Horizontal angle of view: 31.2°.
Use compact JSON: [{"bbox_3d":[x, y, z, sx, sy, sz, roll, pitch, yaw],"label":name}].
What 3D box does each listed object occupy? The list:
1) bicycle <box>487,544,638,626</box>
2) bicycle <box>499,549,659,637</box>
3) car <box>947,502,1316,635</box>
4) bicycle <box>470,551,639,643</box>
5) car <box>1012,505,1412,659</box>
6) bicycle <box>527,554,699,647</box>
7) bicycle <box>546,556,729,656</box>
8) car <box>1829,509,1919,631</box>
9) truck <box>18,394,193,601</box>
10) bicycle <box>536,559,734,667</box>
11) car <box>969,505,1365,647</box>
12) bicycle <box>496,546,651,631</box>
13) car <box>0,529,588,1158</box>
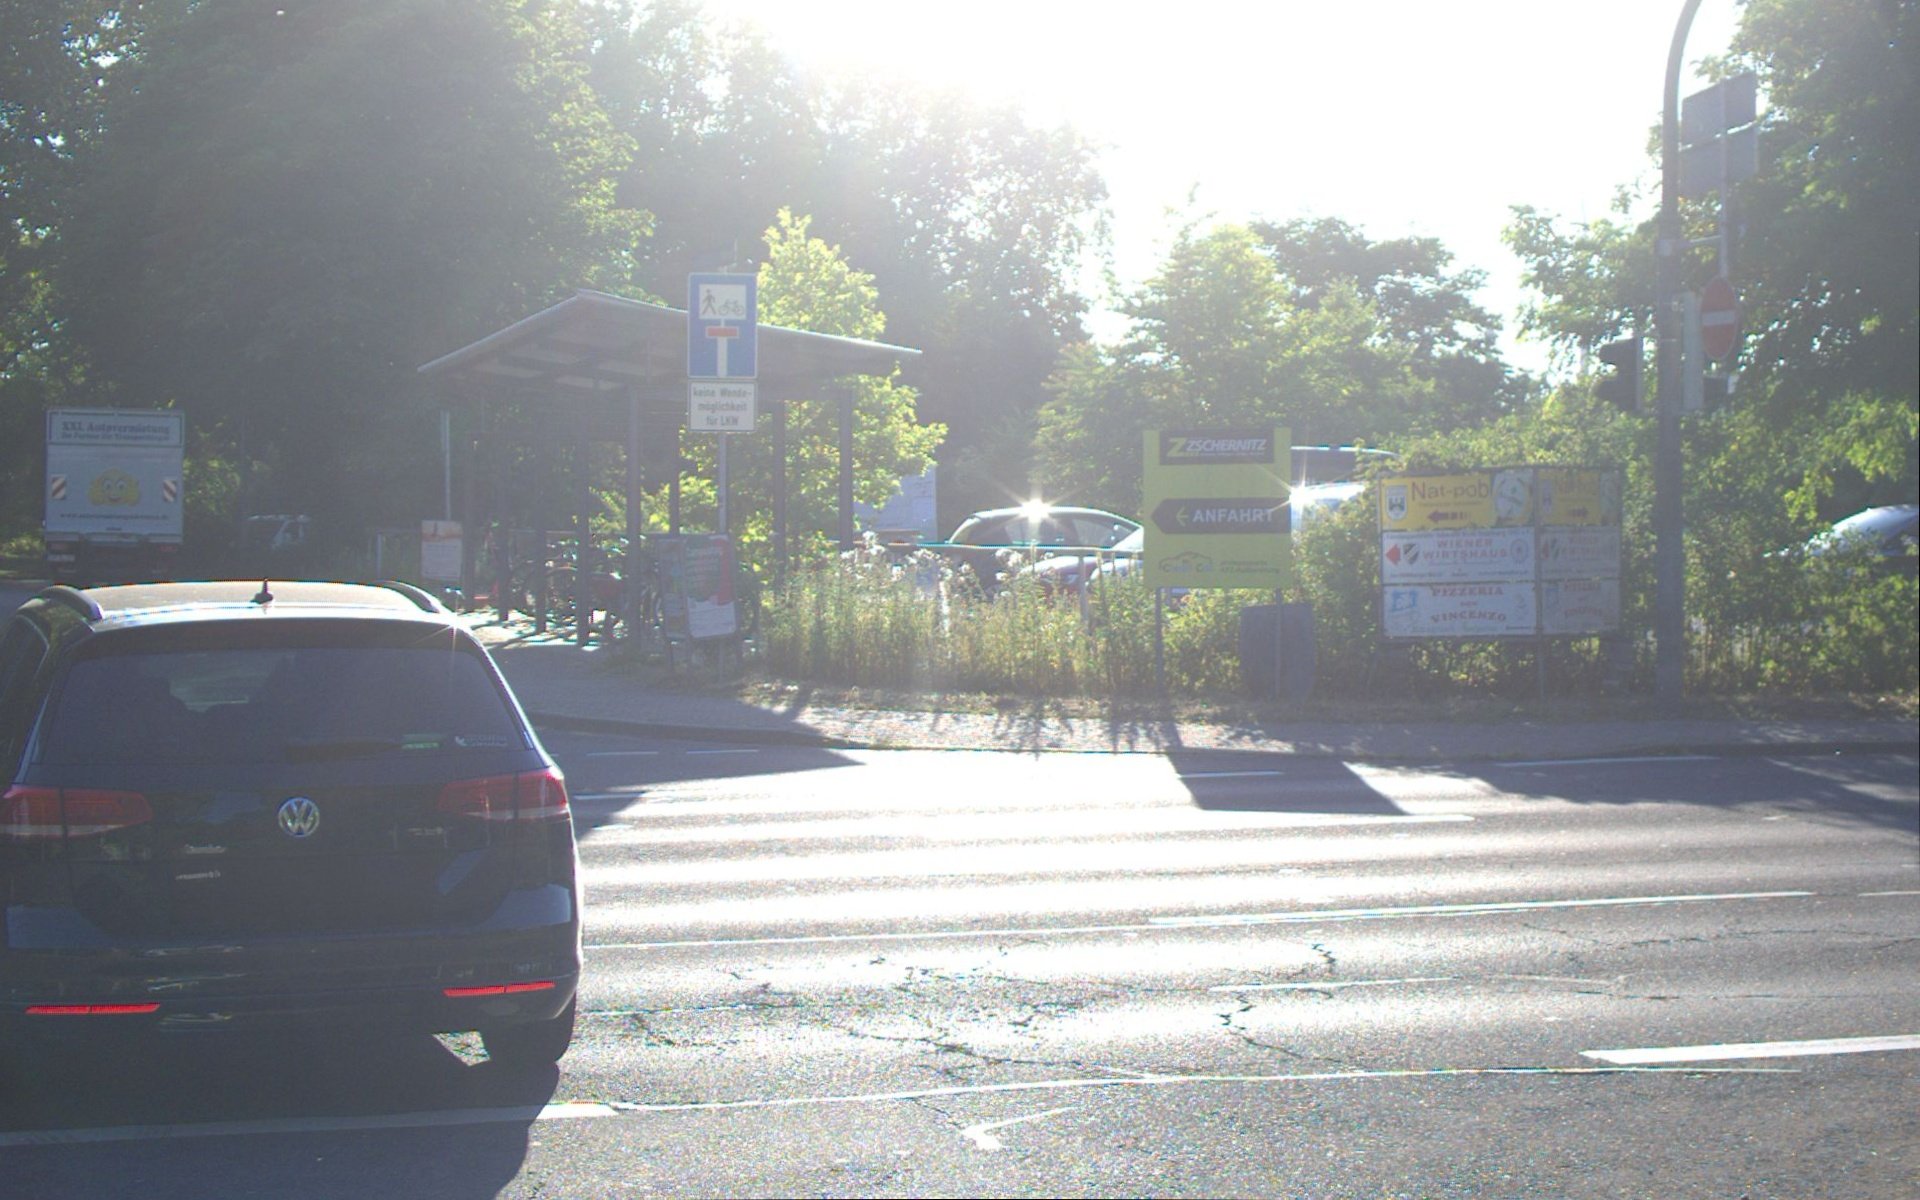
[{"bbox_3d":[-5.126,-0.198,44.325,1.887,1.034,0.544,-1,2,-11],"label":"bicycle"},{"bbox_3d":[-4.634,-0.087,41.813,1.887,1.034,0.544,-1,2,-11],"label":"bicycle"},{"bbox_3d":[2.195,-0.435,44.491,4.305,1.643,2.121,0,2,-17],"label":"car"},{"bbox_3d":[-4.710,-0.046,39.954,1.887,1.034,0.544,-1,2,-15],"label":"bicycle"},{"bbox_3d":[2.805,-0.234,38.649,3.986,1.643,2.121,0,2,-17],"label":"car"},{"bbox_3d":[-3.960,-0.001,39.251,1.887,1.034,0.544,-1,2,-15],"label":"bicycle"},{"bbox_3d":[-3.479,0.060,37.084,1.887,1.034,0.544,-1,2,-15],"label":"bicycle"},{"bbox_3d":[14.366,-0.426,47.656,3.986,1.631,2.121,0,2,-7],"label":"car"},{"bbox_3d":[-17.303,-2.103,70.111,3.183,3.862,11.103,0,2,-13],"label":"truck"},{"bbox_3d":[-3.225,0.122,34.144,1.887,1.034,0.544,-1,2,-15],"label":"bicycle"},{"bbox_3d":[2.479,-0.321,41.597,4.305,1.643,2.121,0,2,-17],"label":"car"},{"bbox_3d":[-4.846,-0.155,43.045,1.887,1.034,0.544,-1,2,-11],"label":"bicycle"},{"bbox_3d":[-2.468,0.577,10.970,1.824,1.550,4.260,0,2,-16],"label":"car"}]
